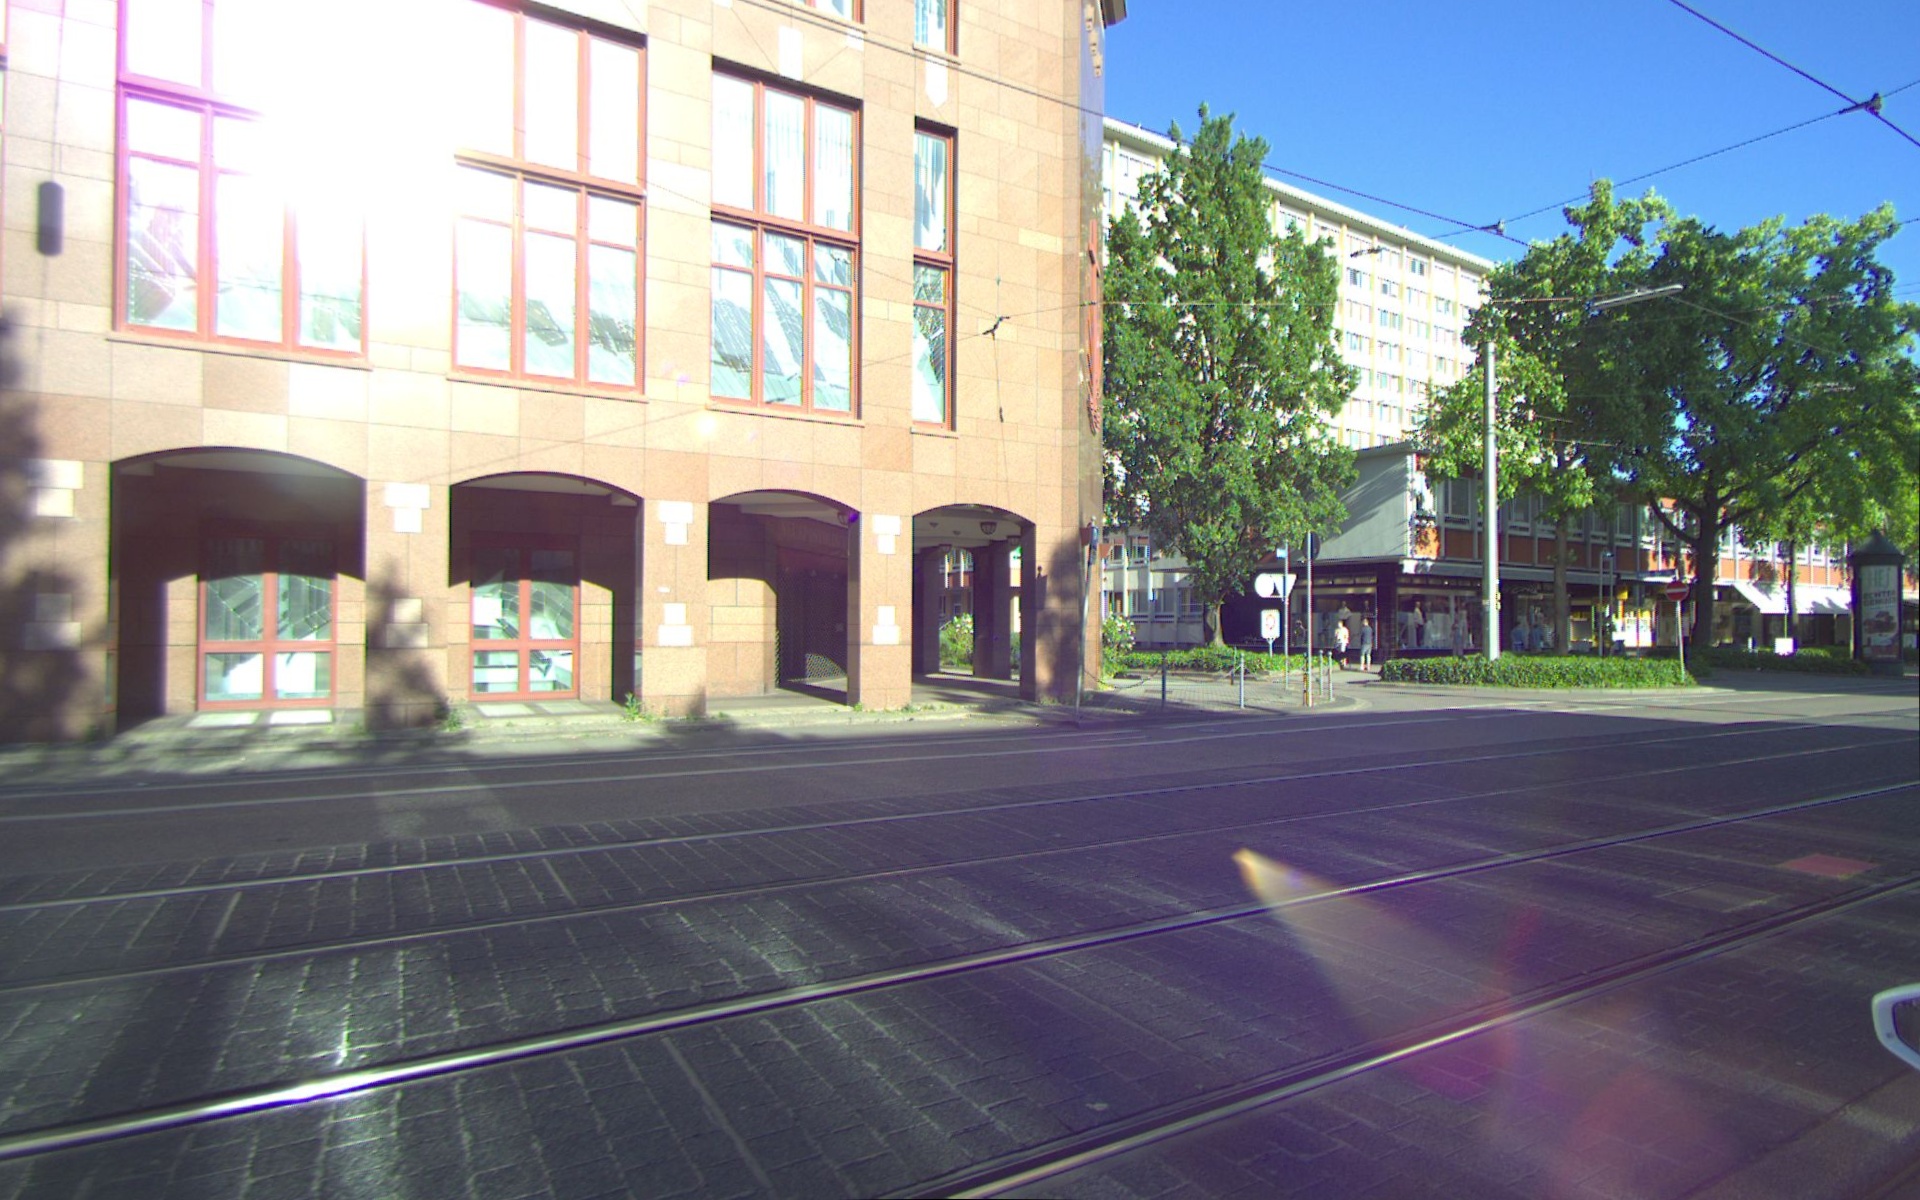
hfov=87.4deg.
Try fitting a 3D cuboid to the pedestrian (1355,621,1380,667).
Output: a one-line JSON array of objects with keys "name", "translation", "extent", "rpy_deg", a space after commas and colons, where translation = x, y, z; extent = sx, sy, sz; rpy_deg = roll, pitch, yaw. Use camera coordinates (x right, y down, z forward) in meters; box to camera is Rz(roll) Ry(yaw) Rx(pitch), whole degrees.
[{"name": "pedestrian", "translation": [15.050, 1.623, 37.118], "extent": [0.697, 1.716, 0.523], "rpy_deg": [0, -2, -6]}]

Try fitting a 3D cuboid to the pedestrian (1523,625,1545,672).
[{"name": "pedestrian", "translation": [22.719, 1.914, 39.731], "extent": [0.583, 1.826, 0.541], "rpy_deg": [1, 1, -39]}]

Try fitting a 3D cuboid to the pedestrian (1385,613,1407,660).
[{"name": "pedestrian", "translation": [17.307, 1.448, 39.855], "extent": [0.586, 1.808, 0.534], "rpy_deg": [1, 1, -30]}]

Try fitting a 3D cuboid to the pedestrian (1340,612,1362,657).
[{"name": "pedestrian", "translation": [16.100, 1.405, 41.380], "extent": [0.532, 1.808, 0.588], "rpy_deg": [1, 1, -30]}]

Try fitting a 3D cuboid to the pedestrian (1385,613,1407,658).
[{"name": "pedestrian", "translation": [17.703, 1.447, 40.829], "extent": [0.586, 1.794, 0.534], "rpy_deg": [1, 1, -30]}]

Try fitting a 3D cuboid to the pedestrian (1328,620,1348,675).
[{"name": "pedestrian", "translation": [14.724, 1.848, 39.136], "extent": [0.591, 2.093, 0.669], "rpy_deg": [2, 1, 15]}]

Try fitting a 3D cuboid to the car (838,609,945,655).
[{"name": "car", "translation": [-2.756, 1.317, 40.751], "extent": [3.959, 1.599, 1.735], "rpy_deg": [5, -3, -34]}]

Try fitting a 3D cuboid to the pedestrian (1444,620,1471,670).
[{"name": "pedestrian", "translation": [19.072, 1.725, 38.527], "extent": [0.666, 1.871, 0.623], "rpy_deg": [1, 1, -33]}]

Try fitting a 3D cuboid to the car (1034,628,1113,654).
[{"name": "car", "translation": [7.466, 2.654, 65.834], "extent": [5.155, 1.575, 1.979], "rpy_deg": [1, 0, -36]}]

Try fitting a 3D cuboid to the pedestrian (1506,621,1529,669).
[{"name": "pedestrian", "translation": [22.287, 1.797, 40.166], "extent": [0.533, 1.897, 0.586], "rpy_deg": [1, 1, -39]}]
